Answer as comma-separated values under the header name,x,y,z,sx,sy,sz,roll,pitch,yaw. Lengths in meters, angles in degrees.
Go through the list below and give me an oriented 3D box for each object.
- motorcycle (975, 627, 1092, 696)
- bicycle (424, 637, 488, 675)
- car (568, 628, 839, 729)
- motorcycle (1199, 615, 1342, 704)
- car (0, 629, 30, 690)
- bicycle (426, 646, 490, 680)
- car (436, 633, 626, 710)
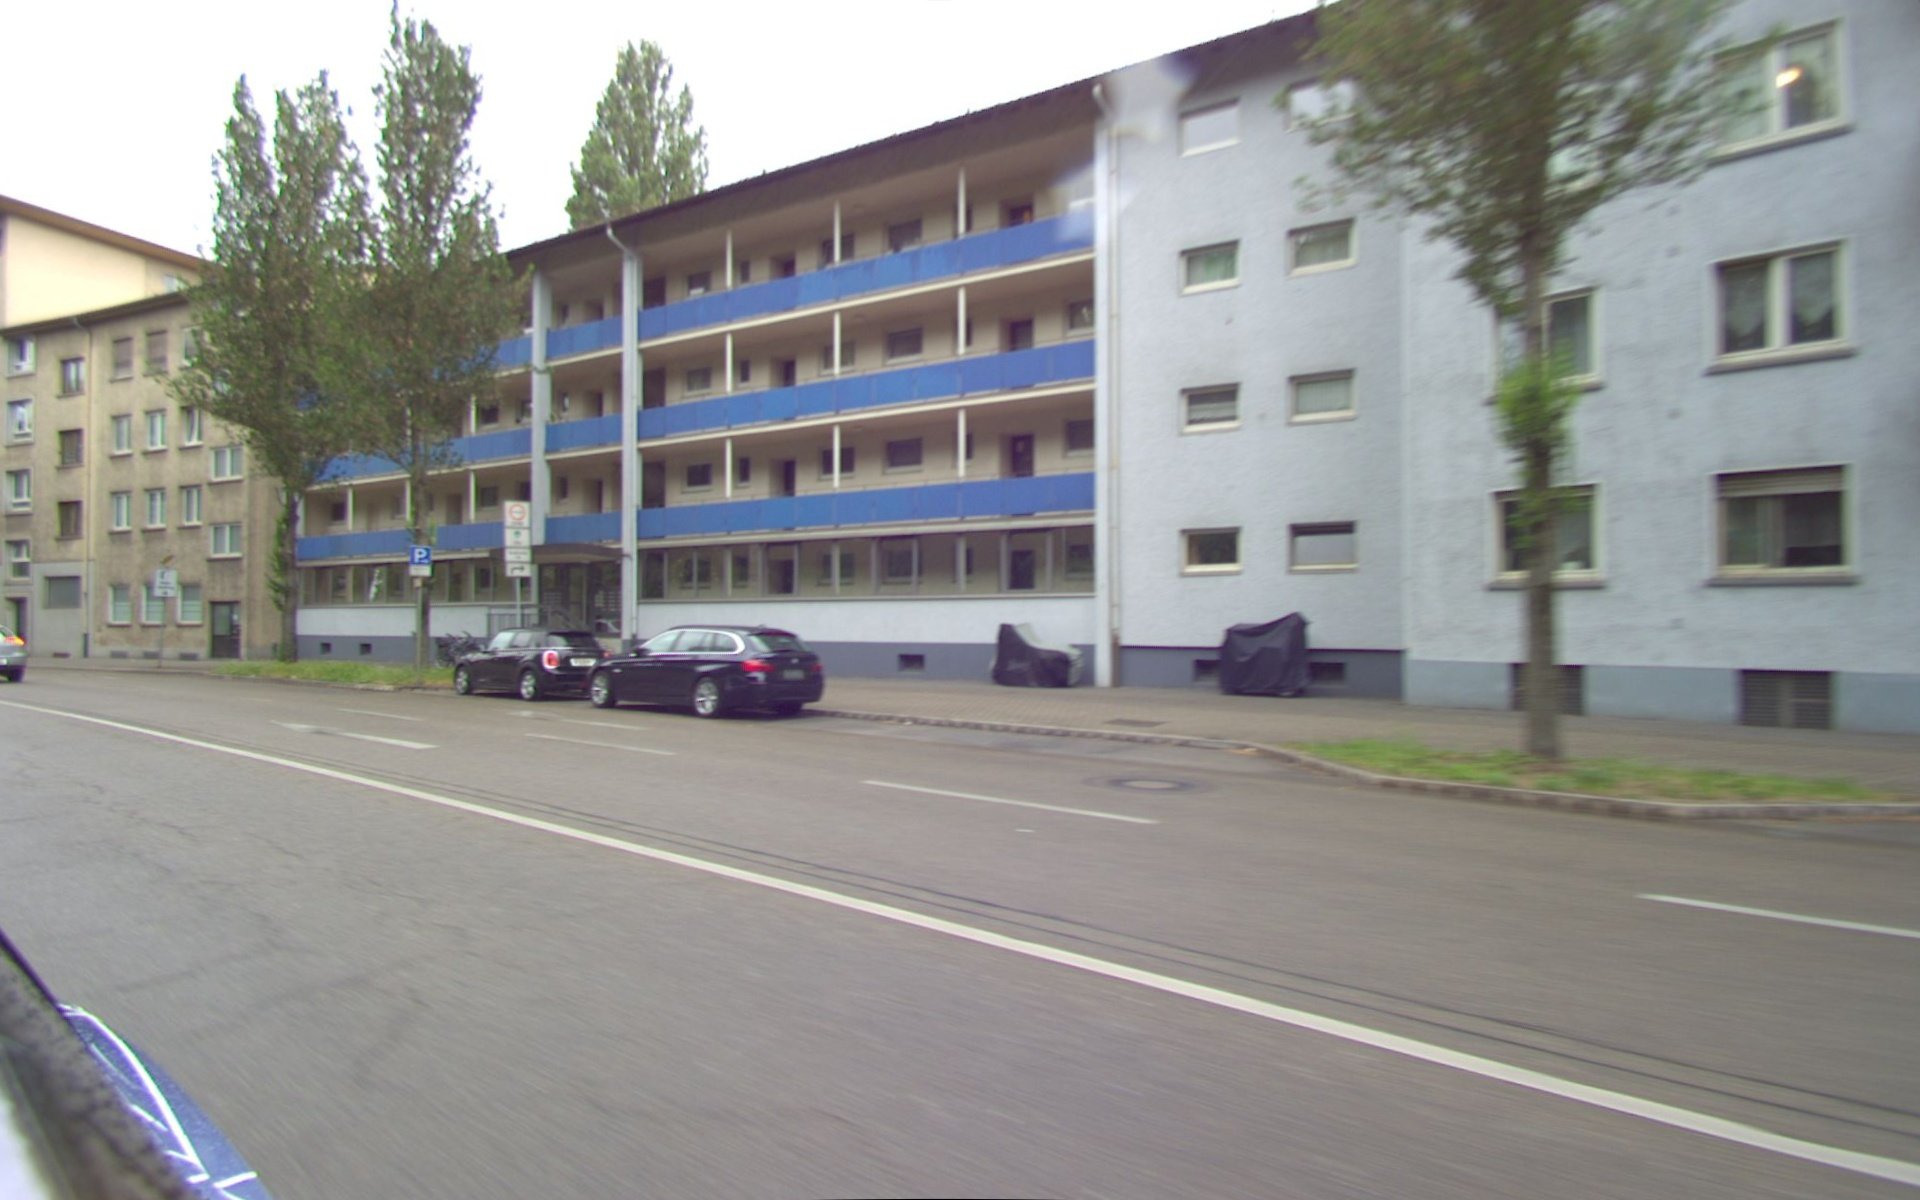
name,x,y,z,sx,sy,sz,roll,pitch,yaw
motorcycle,1.422,1.171,19.848,2.230,1.263,0.669,-1,0,34
bicycle,-14.104,1.557,28.315,1.721,1.031,0.609,-1,-2,22
car,-4.414,1.229,17.023,4.886,1.450,1.803,-1,-3,38
motorcycle,5.321,0.994,17.406,2.228,1.424,0.670,-1,1,31
car,-24.741,1.441,24.675,4.518,1.436,1.740,-1,-2,30
bicycle,-13.389,1.667,27.005,1.734,0.832,0.663,-1,1,30
car,-8.773,1.396,20.584,4.082,1.414,1.763,-1,-4,37
